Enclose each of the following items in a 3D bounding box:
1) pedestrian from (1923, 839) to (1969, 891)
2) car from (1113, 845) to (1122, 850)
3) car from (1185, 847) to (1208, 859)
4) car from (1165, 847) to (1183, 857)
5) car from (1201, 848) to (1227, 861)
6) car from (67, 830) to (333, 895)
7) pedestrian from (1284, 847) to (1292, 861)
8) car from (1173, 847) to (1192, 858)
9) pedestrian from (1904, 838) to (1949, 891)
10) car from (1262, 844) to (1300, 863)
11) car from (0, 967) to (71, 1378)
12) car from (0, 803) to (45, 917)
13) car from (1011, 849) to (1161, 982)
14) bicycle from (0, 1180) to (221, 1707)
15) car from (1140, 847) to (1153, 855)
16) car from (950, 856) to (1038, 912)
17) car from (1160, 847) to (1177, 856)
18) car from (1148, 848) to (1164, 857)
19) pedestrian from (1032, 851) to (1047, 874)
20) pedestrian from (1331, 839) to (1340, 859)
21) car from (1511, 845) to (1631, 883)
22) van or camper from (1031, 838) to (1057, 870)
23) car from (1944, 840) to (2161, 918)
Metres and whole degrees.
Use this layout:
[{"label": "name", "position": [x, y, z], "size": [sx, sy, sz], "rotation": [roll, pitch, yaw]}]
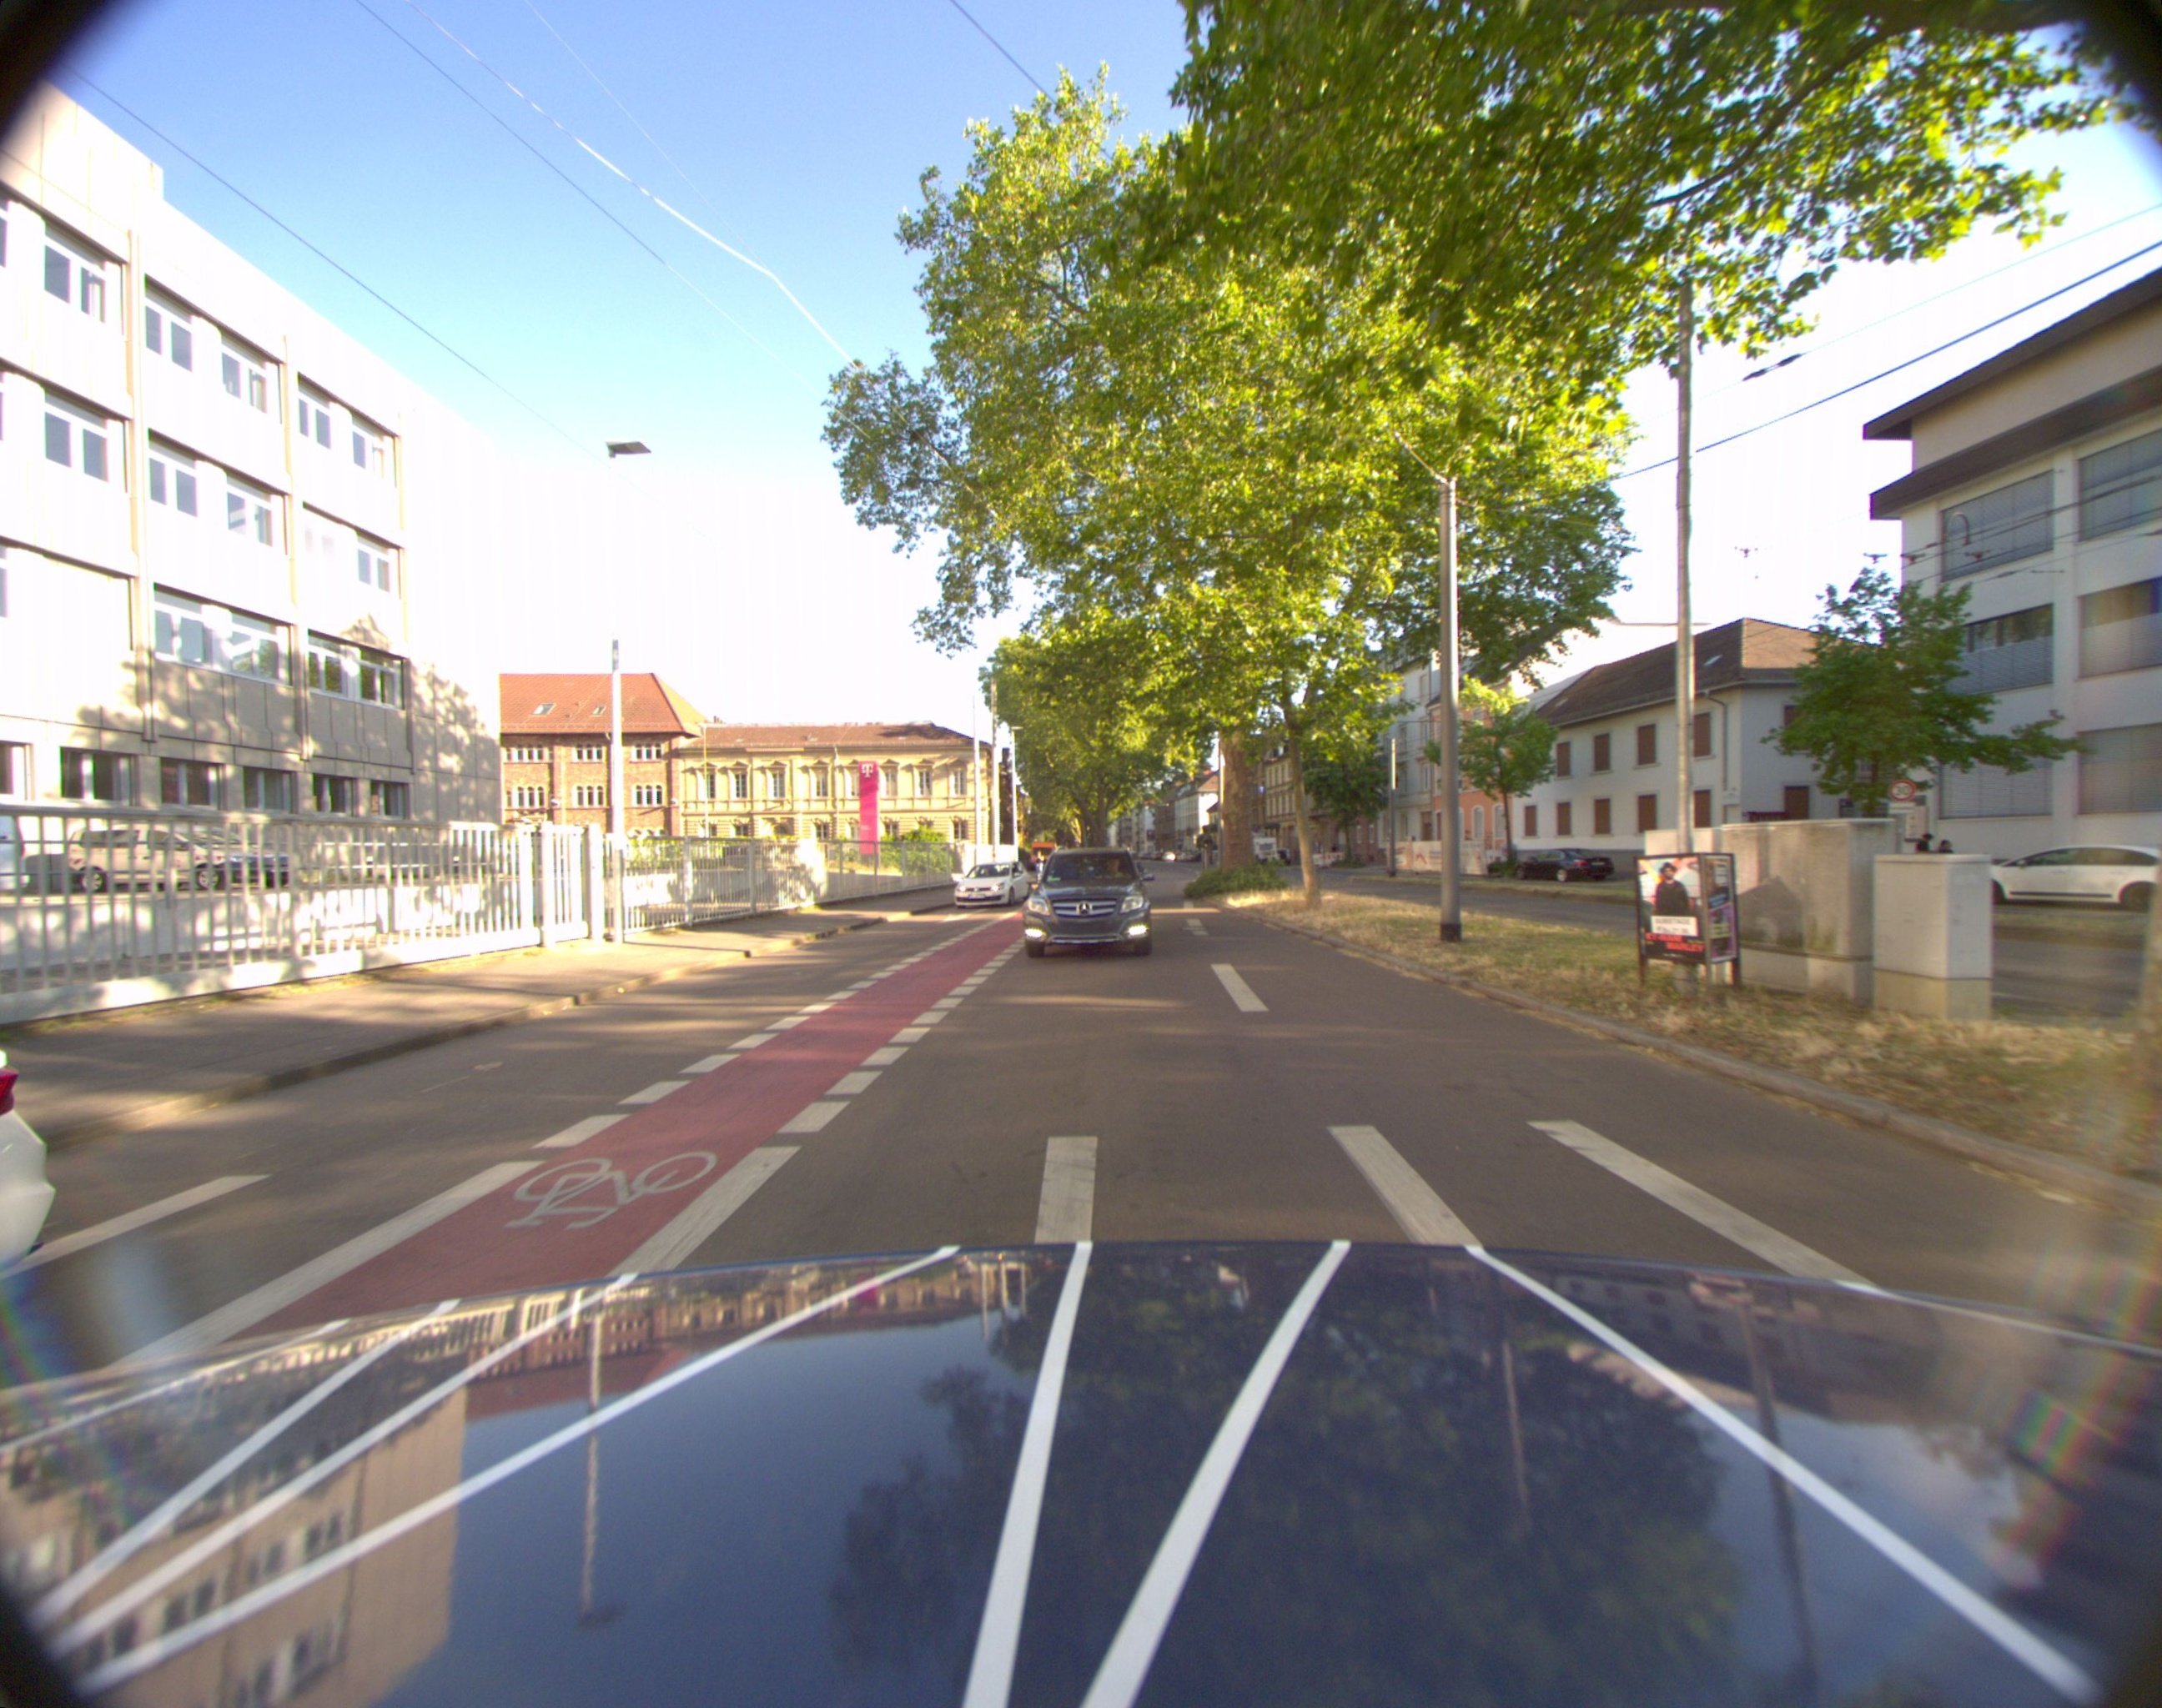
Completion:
[{"label": "pedestrian", "position": [25.656, 0.329, 22.553], "size": [0.537, 1.519, 0.711], "rotation": [-1, 1, -3]}, {"label": "car", "position": [10.773, -1.920, 224.167], "size": [2.088, 1.531, 4.125], "rotation": [-4, 1, -5]}, {"label": "car", "position": [16.844, -0.144, 111.203], "size": [2.088, 1.531, 5.102], "rotation": [-4, 1, -5]}, {"label": "car", "position": [15.446, -0.299, 126.067], "size": [2.088, 1.531, 4.096], "rotation": [-4, 1, -5]}, {"label": "car", "position": [17.131, 0.017, 98.105], "size": [2.088, 1.531, 4.514], "rotation": [-4, 1, -5]}, {"label": "car", "position": [-23.429, 0.206, 20.369], "size": [4.575, 1.572, 1.999], "rotation": [-1, 1, -3]}, {"label": "pedestrian", "position": [22.486, 0.030, 82.473], "size": [0.641, 1.519, 0.615], "rotation": [-1, 1, -8]}, {"label": "car", "position": [16.020, -0.298, 120.119], "size": [2.088, 1.531, 4.036], "rotation": [-4, 1, -5]}, {"label": "pedestrian", "position": [24.865, 0.303, 22.352], "size": [0.537, 1.519, 0.711], "rotation": [-1, 1, -9]}, {"label": "car", "position": [19.685, -0.060, 74.938], "size": [2.088, 1.664, 4.530], "rotation": [-4, 1, -5]}, {"label": "car", "position": [-4.546, 1.143, 0.715], "size": [1.705, 1.381, 4.074], "rotation": [-2, 1, -1]}, {"label": "car", "position": [-18.286, 0.130, 10.283], "size": [1.999, 1.832, 4.783], "rotation": [-1, 1, -2]}, {"label": "car", "position": [0.155, 0.812, 12.417], "size": [1.908, 1.634, 4.516], "rotation": [-3, 1, 2]}, {"label": "bicycle", "position": [-2.123, 1.212, 0.334], "size": [0.764, 1.137, 2.307], "rotation": [-1, 1, 3]}, {"label": "car", "position": [13.881, -0.692, 161.585], "size": [2.088, 1.531, 4.118], "rotation": [-4, 1, -5]}, {"label": "car", "position": [-2.737, 0.911, 24.961], "size": [1.792, 1.494, 4.302], "rotation": [-3, 1, 7]}, {"label": "car", "position": [15.577, -0.504, 136.007], "size": [2.088, 1.531, 4.253], "rotation": [-4, 1, -5]}, {"label": "car", "position": [14.419, -0.287, 146.252], "size": [2.088, 1.531, 4.007], "rotation": [-4, 1, -5]}, {"label": "pedestrian", "position": [-2.683, 0.570, 48.995], "size": [0.898, 1.464, 0.810], "rotation": [-1, 1, 3]}, {"label": "pedestrian", "position": [23.425, -0.485, 69.900], "size": [0.561, 1.798, 0.705], "rotation": [-1, 1, -4]}, {"label": "car", "position": [21.781, 0.411, 34.017], "size": [2.088, 1.462, 4.577], "rotation": [-4, 1, -5]}, {"label": "van or camper", "position": [-3.082, -0.027, 64.606], "size": [1.999, 2.578, 5.624], "rotation": [-2, 1, -2]}, {"label": "car", "position": [22.944, 0.500, 17.217], "size": [2.088, 1.481, 3.995], "rotation": [-4, 1, -5]}]
